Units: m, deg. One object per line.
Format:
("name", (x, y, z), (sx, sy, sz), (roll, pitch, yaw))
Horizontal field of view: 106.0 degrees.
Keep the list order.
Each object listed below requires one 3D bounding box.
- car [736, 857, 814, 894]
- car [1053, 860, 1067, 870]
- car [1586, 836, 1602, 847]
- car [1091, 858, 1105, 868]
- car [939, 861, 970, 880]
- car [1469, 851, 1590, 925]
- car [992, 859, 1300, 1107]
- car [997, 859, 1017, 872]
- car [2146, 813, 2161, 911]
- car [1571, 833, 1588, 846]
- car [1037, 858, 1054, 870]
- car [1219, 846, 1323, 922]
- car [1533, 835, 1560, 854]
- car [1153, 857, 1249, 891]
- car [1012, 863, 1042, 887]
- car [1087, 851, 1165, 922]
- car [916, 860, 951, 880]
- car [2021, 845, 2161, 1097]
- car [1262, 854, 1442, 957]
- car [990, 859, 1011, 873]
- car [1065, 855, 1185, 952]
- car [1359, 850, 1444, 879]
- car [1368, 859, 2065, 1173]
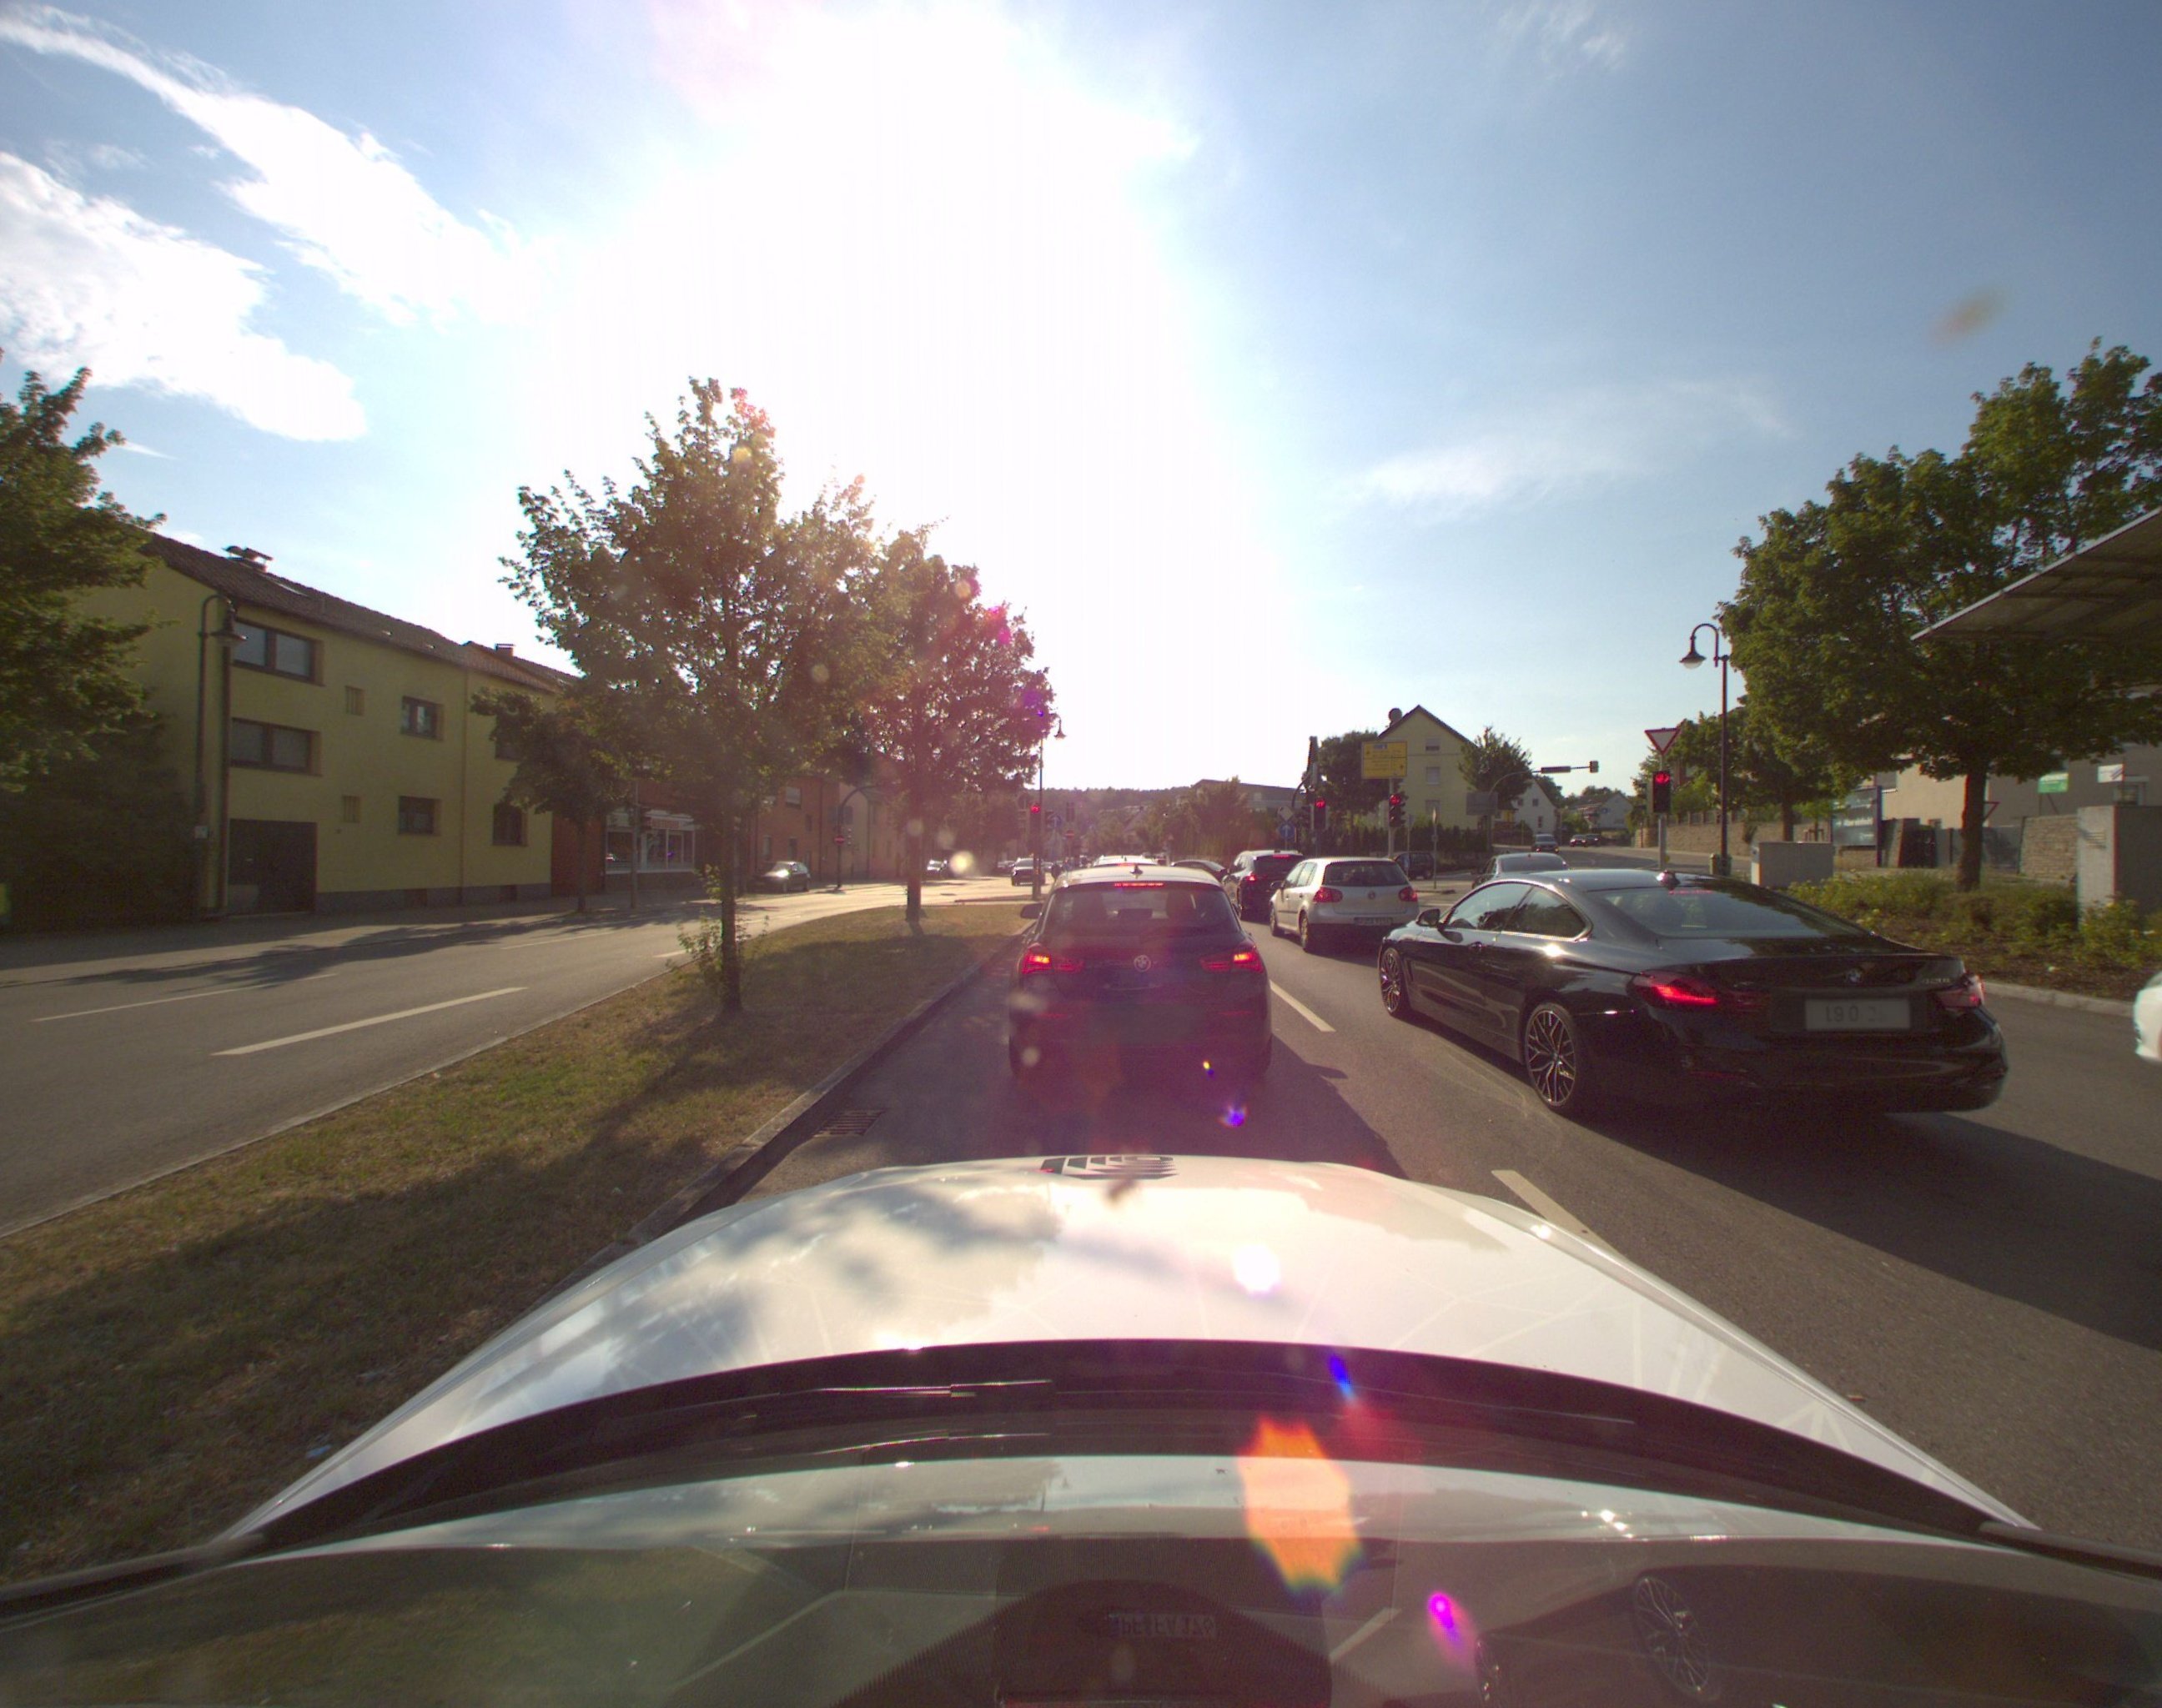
("car", (-14.215, 0.958, 38.058), (1.834, 1.552, 4.005), (2, 0, 5))
("car", (-3.346, 1.751, 130.330), (1.916, 1.596, 4.004), (0, 0, 4))
("car", (78.342, -1.926, 124.345), (1.759, 1.580, 4.025), (-1, 0, 35))
("car", (2.845, 1.485, 135.767), (1.858, 1.485, 4.652), (0, 0, -4))
("car", (-11.410, 1.488, 73.797), (1.916, 1.596, 4.004), (0, 0, 4))
("car", (9.874, 0.662, 18.272), (1.667, 1.435, 4.612), (-1, 0, 20))
("car", (0.504, 0.772, 6.932), (1.783, 1.414, 4.351), (-1, 0, 3))
("car", (-9.309, 1.396, 103.218), (1.916, 1.596, 4.004), (0, 0, 4))
("car", (19.520, 0.118, 12.252), (3.958, 1.608, 1.861), (0, 0, 14))
("car", (64.753, -1.869, 105.819), (1.759, 1.580, 4.025), (-1, 0, 34))
("car", (-4.997, 1.389, 115.697), (1.916, 1.596, 4.004), (0, 0, 4))
("car", (4.588, 0.675, 20.305), (1.808, 1.666, 4.351), (-1, 0, 3))
("car", (36.340, -0.779, 63.610), (1.694, 1.244, 4.026), (-1, 3, 28))
("car", (5.432, 0.889, 37.042), (3.948, 1.458, 1.783), (-1, 0, 36))
("car", (-3.250, 1.264, 49.837), (1.688, 1.353, 3.997), (0, 0, -2))
("car", (1.177, 0.767, 21.266), (1.808, 1.641, 4.245), (-1, 0, 3))
("car", (-12.228, 1.288, 67.661), (1.916, 1.596, 4.004), (0, 0, 4))
("car", (7.034, 0.665, 3.347), (1.722, 1.450, 4.070), (-1, 0, 2))
("car", (4.333, 0.735, 13.740), (1.808, 1.446, 4.351), (-1, 0, 3))
("car", (-9.616, 1.387, 97.716), (1.916, 1.596, 4.004), (0, 0, 4))
("car", (0.790, 0.758, 14.420), (1.808, 1.451, 4.245), (-1, 0, 3))
("car", (17.504, 0.573, 44.538), (4.061, 1.507, 1.783), (0, 0, -14))
("car", (3.630, 0.746, 5.865), (1.808, 1.388, 4.351), (-1, 0, 3))
